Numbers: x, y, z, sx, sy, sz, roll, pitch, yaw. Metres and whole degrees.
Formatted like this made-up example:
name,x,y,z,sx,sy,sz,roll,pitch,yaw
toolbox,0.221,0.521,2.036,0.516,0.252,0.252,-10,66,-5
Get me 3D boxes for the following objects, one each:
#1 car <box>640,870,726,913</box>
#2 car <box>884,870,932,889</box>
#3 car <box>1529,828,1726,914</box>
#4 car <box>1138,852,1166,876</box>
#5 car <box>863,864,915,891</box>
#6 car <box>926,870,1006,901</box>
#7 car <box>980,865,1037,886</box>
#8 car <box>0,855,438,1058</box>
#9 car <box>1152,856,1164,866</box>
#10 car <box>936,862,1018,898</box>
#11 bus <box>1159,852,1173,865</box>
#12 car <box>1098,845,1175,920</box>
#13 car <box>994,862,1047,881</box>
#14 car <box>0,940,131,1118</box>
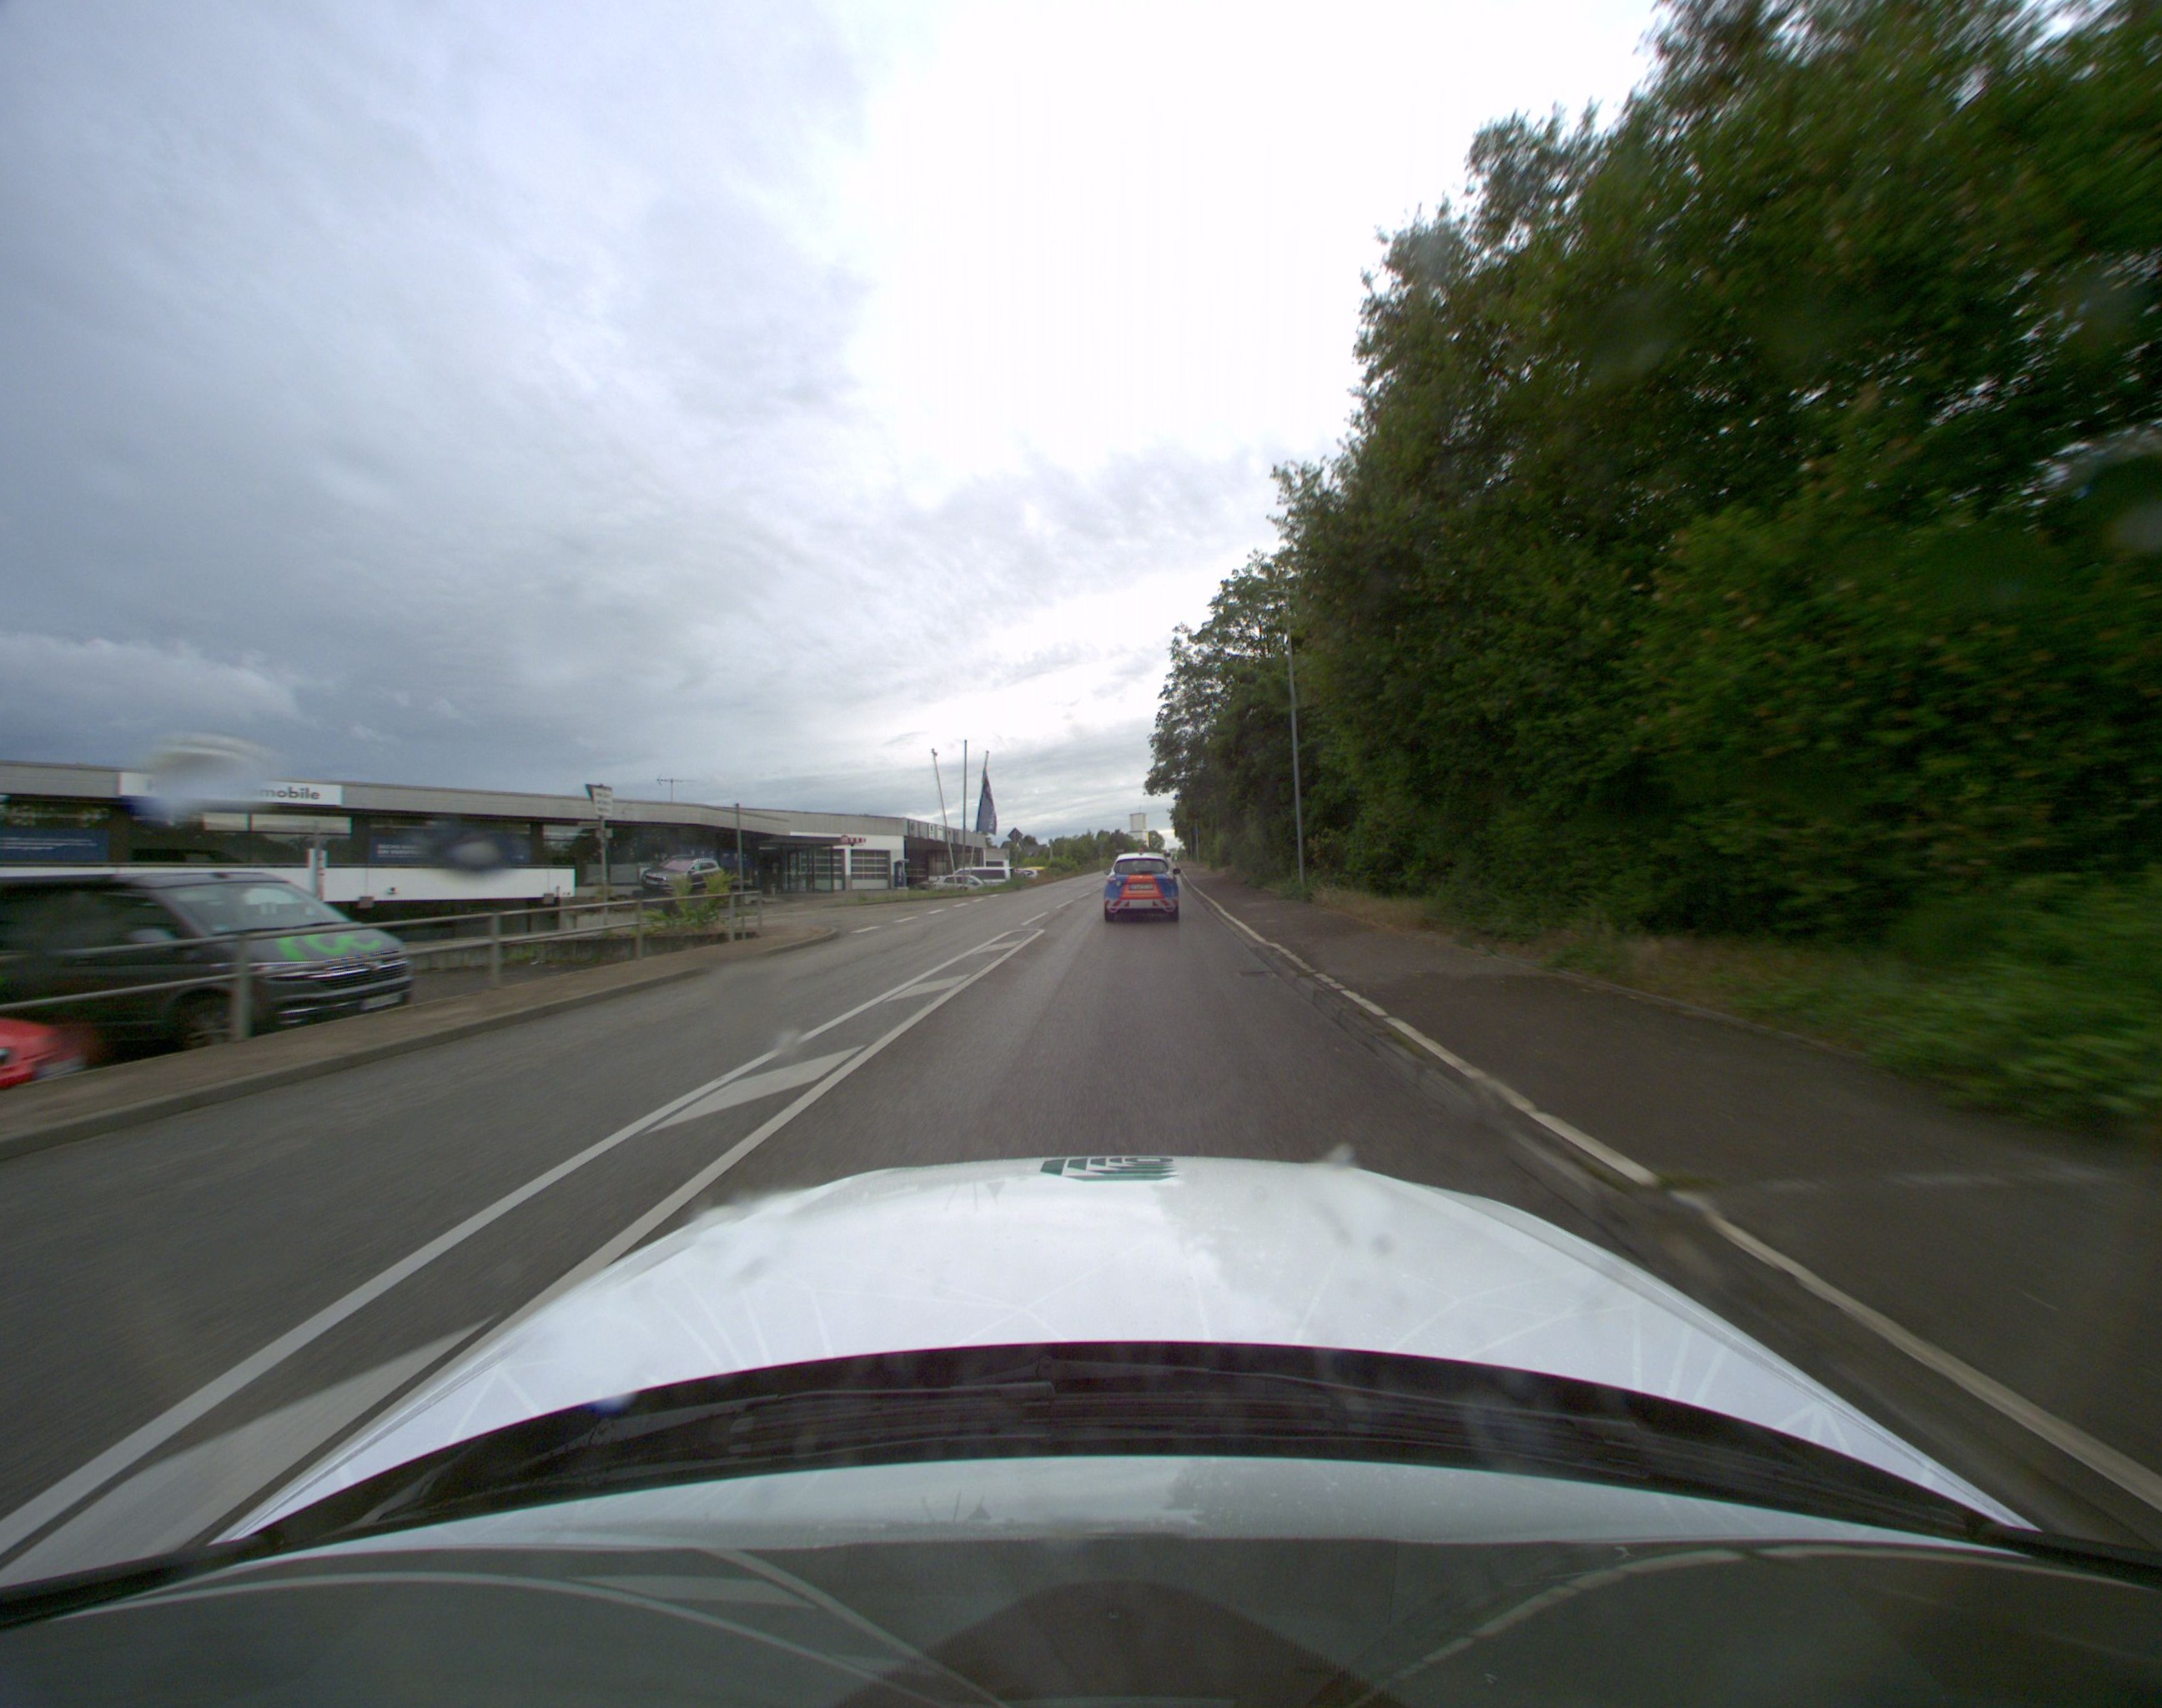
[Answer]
name,x,y,z,sx,sy,sz,roll,pitch,yaw
car,-18.656,1.704,38.369,1.391,1.800,4.261,-3,-1,8
car,-15.083,2.234,71.035,3.970,1.416,1.966,-3,0,39
car,10.233,0.287,15.254,3.158,1.384,1.680,-2,-1,-26
car,5.099,0.701,58.883,1.795,1.590,3.564,-3,-1,2
car,-16.355,1.997,69.290,4.427,1.960,2.001,-6,-3,41
car,-6.342,1.722,45.081,3.991,1.478,1.826,-3,0,4
car,-5.633,1.677,63.669,4.209,1.368,1.876,-3,0,2
car,-10.458,1.081,8.996,5.056,1.870,1.820,-3,-1,-3
car,11.004,1.017,116.885,1.607,1.407,3.500,-3,-1,4
car,-6.049,1.502,47.678,4.392,1.798,1.936,-3,0,4
bus,23.386,1.255,224.988,2.900,3.169,11.467,-3,-1,1
car,1.406,0.673,19.743,1.649,1.593,3.574,-2,-2,6
car,-4.895,1.401,66.235,4.046,1.291,1.805,-3,0,2
car,-10.283,1.472,5.995,4.089,1.267,1.765,-3,-1,-8
